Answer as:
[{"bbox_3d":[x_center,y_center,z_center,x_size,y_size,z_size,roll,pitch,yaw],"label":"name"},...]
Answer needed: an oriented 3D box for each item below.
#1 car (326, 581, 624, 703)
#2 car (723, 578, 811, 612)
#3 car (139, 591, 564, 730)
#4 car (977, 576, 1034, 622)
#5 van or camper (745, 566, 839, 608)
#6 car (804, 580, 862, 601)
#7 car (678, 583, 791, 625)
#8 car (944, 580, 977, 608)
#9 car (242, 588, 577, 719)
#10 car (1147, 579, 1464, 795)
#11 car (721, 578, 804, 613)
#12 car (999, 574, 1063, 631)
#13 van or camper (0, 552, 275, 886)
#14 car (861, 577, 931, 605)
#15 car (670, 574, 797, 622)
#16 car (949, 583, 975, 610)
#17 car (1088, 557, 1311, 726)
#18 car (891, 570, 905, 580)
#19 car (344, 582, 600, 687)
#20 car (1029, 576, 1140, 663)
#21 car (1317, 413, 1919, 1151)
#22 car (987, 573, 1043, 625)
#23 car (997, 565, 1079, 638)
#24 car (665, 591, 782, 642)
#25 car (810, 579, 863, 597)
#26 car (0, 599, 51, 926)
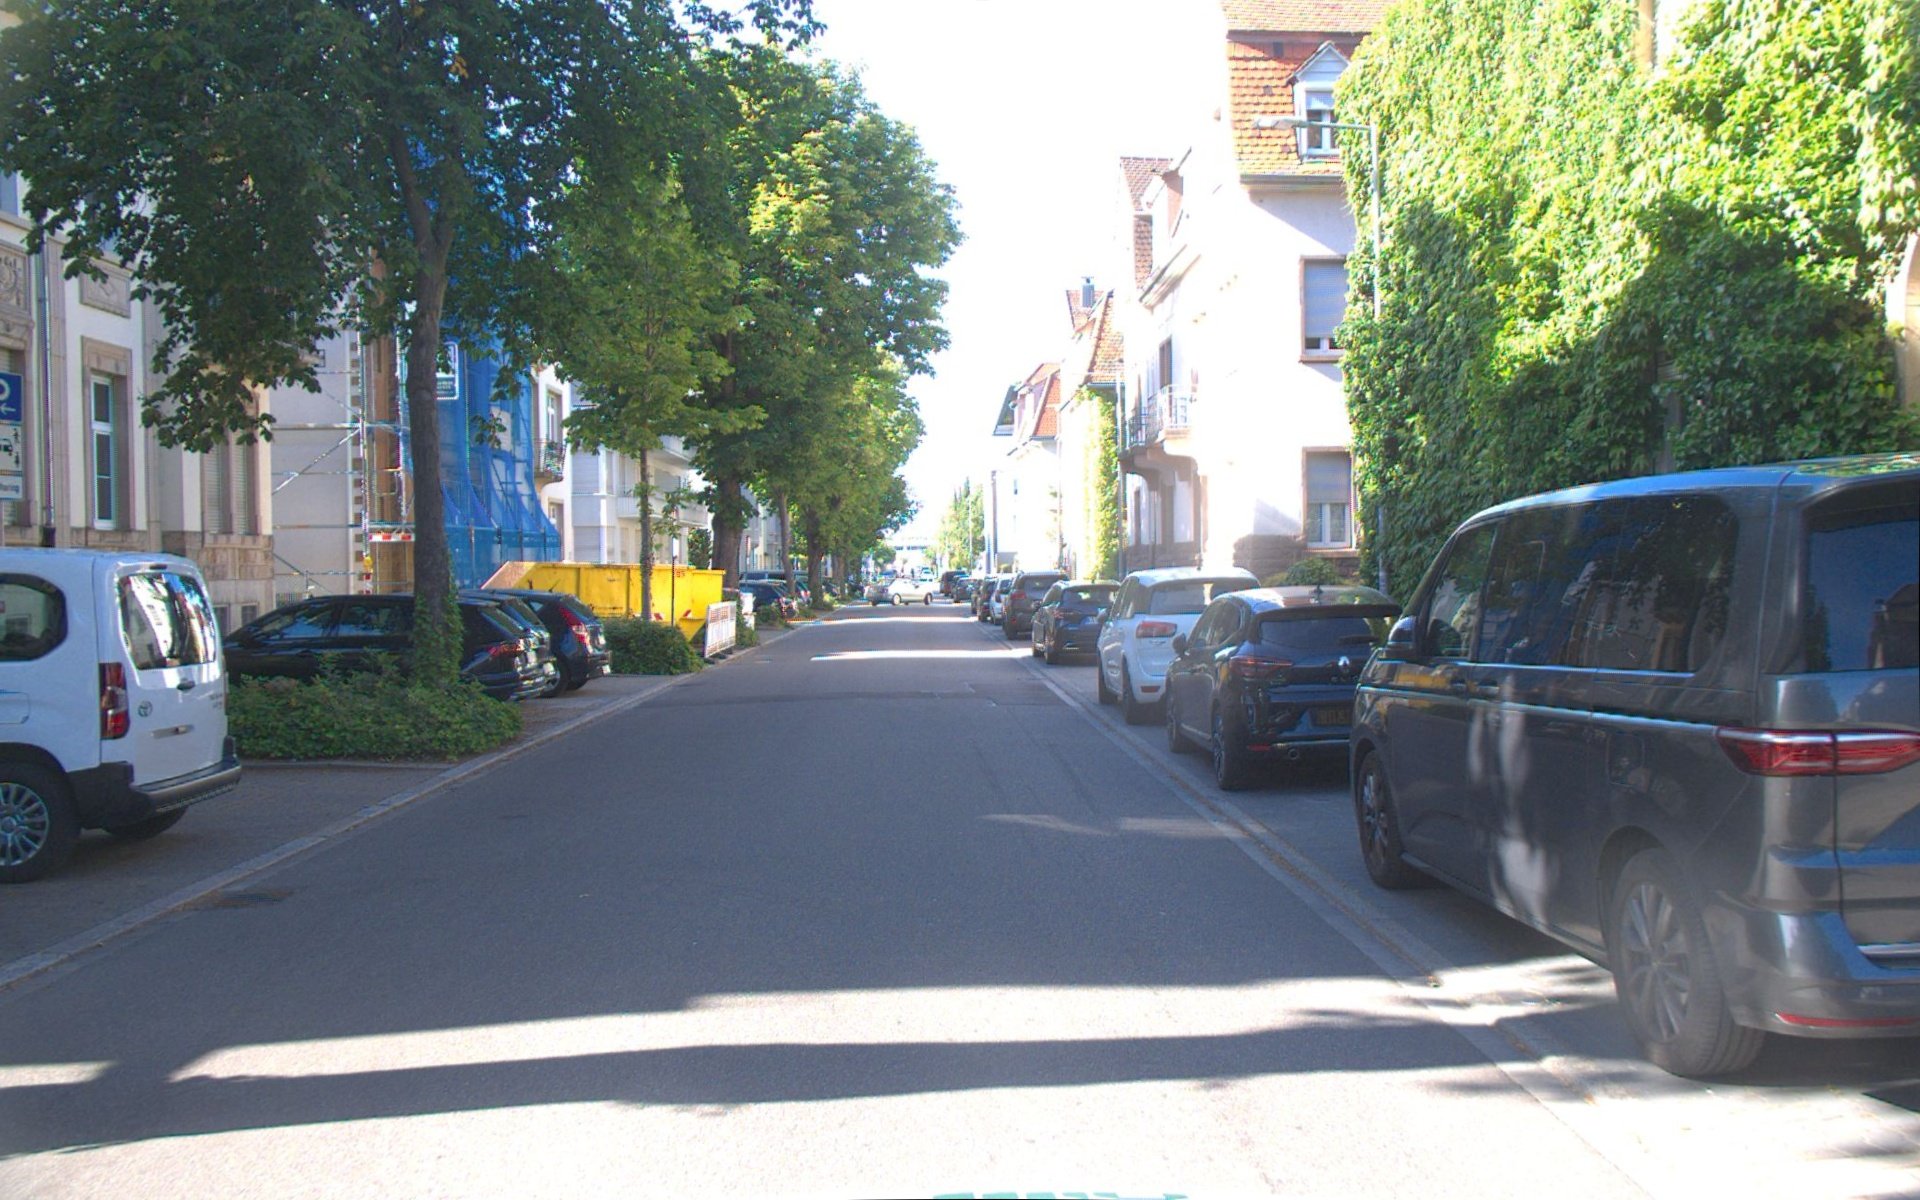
[{"bbox_3d":[-6.771,0.564,23.362,3.650,1.490,1.715,-2,2,-1],"label":"car"},{"bbox_3d":[-8.747,-0.243,75.077,3.844,1.439,1.714,1,1,-4],"label":"car"},{"bbox_3d":[-6.603,0.630,18.276,4.056,1.425,1.709,0,1,-2],"label":"car"},{"bbox_3d":[1.564,-0.031,57.756,1.675,1.461,4.191,-3,0,-2],"label":"car"},{"bbox_3d":[-8.201,-0.623,80.833,4.406,1.948,1.963,-1,0,-2],"label":"van or camper"},{"bbox_3d":[-9.396,-0.726,122.699,4.103,1.473,1.712,1,0,0],"label":"car"},{"bbox_3d":[-8.550,0.137,62.910,4.104,1.466,1.712,-1,1,-3],"label":"car"},{"bbox_3d":[0.005,-0.363,95.977,1.588,1.464,3.932,-3,1,-3],"label":"car"},{"bbox_3d":[-6.917,0.650,21.056,3.672,1.456,1.646,-2,1,-2],"label":"car"},{"bbox_3d":[2.651,0.582,13.580,1.604,1.446,4.007,-2,1,-2],"label":"car"},{"bbox_3d":[-8.661,-0.194,72.622,3.407,1.483,1.797,1,0,-1],"label":"car"},{"bbox_3d":[1.992,0.073,46.907,1.592,1.576,2.868,0,0,-2],"label":"car"},{"bbox_3d":[-6.392,0.637,9.820,3.865,1.804,1.809,-1,2,-3],"label":"van or camper"},{"bbox_3d":[-3.447,-0.480,89.015,1.698,1.445,3.945,1,0,36],"label":"car"},{"bbox_3d":[-8.274,-0.109,60.393,4.506,1.635,1.828,-1,1,-11],"label":"car"},{"bbox_3d":[0.125,-0.282,125.252,1.833,1.938,5.197,-2,0,-1],"label":"car"},{"bbox_3d":[2.619,0.397,19.040,1.829,1.673,4.198,-2,1,-1],"label":"car"},{"bbox_3d":[-9.656,-3.925,257.845,1.753,1.559,3.994,-1,1,-8],"label":"car"},{"bbox_3d":[-7.602,0.515,26.021,3.478,1.473,1.695,-2,1,-1],"label":"car"},{"bbox_3d":[2.221,0.299,30.476,1.610,1.479,4.502,-1,1,-1],"label":"car"},{"bbox_3d":[3.015,0.426,6.836,1.815,1.942,4.849,-1,1,-3],"label":"car"},{"bbox_3d":[1.746,-0.019,53.463,1.544,1.576,3.467,-2,0,-2],"label":"car"},{"bbox_3d":[1.914,0.050,41.721,1.742,1.726,4.319,1,0,-1],"label":"car"},{"bbox_3d":[-8.040,0.524,56.049,3.801,1.540,1.828,-2,1,-11],"label":"car"},{"bbox_3d":[-10.293,-1.016,137.995,4.385,1.505,1.867,0,0,-4],"label":"car"},{"bbox_3d":[-6.362,0.800,7.345,3.650,1.543,1.721,-1,1,-3],"label":"car"}]
